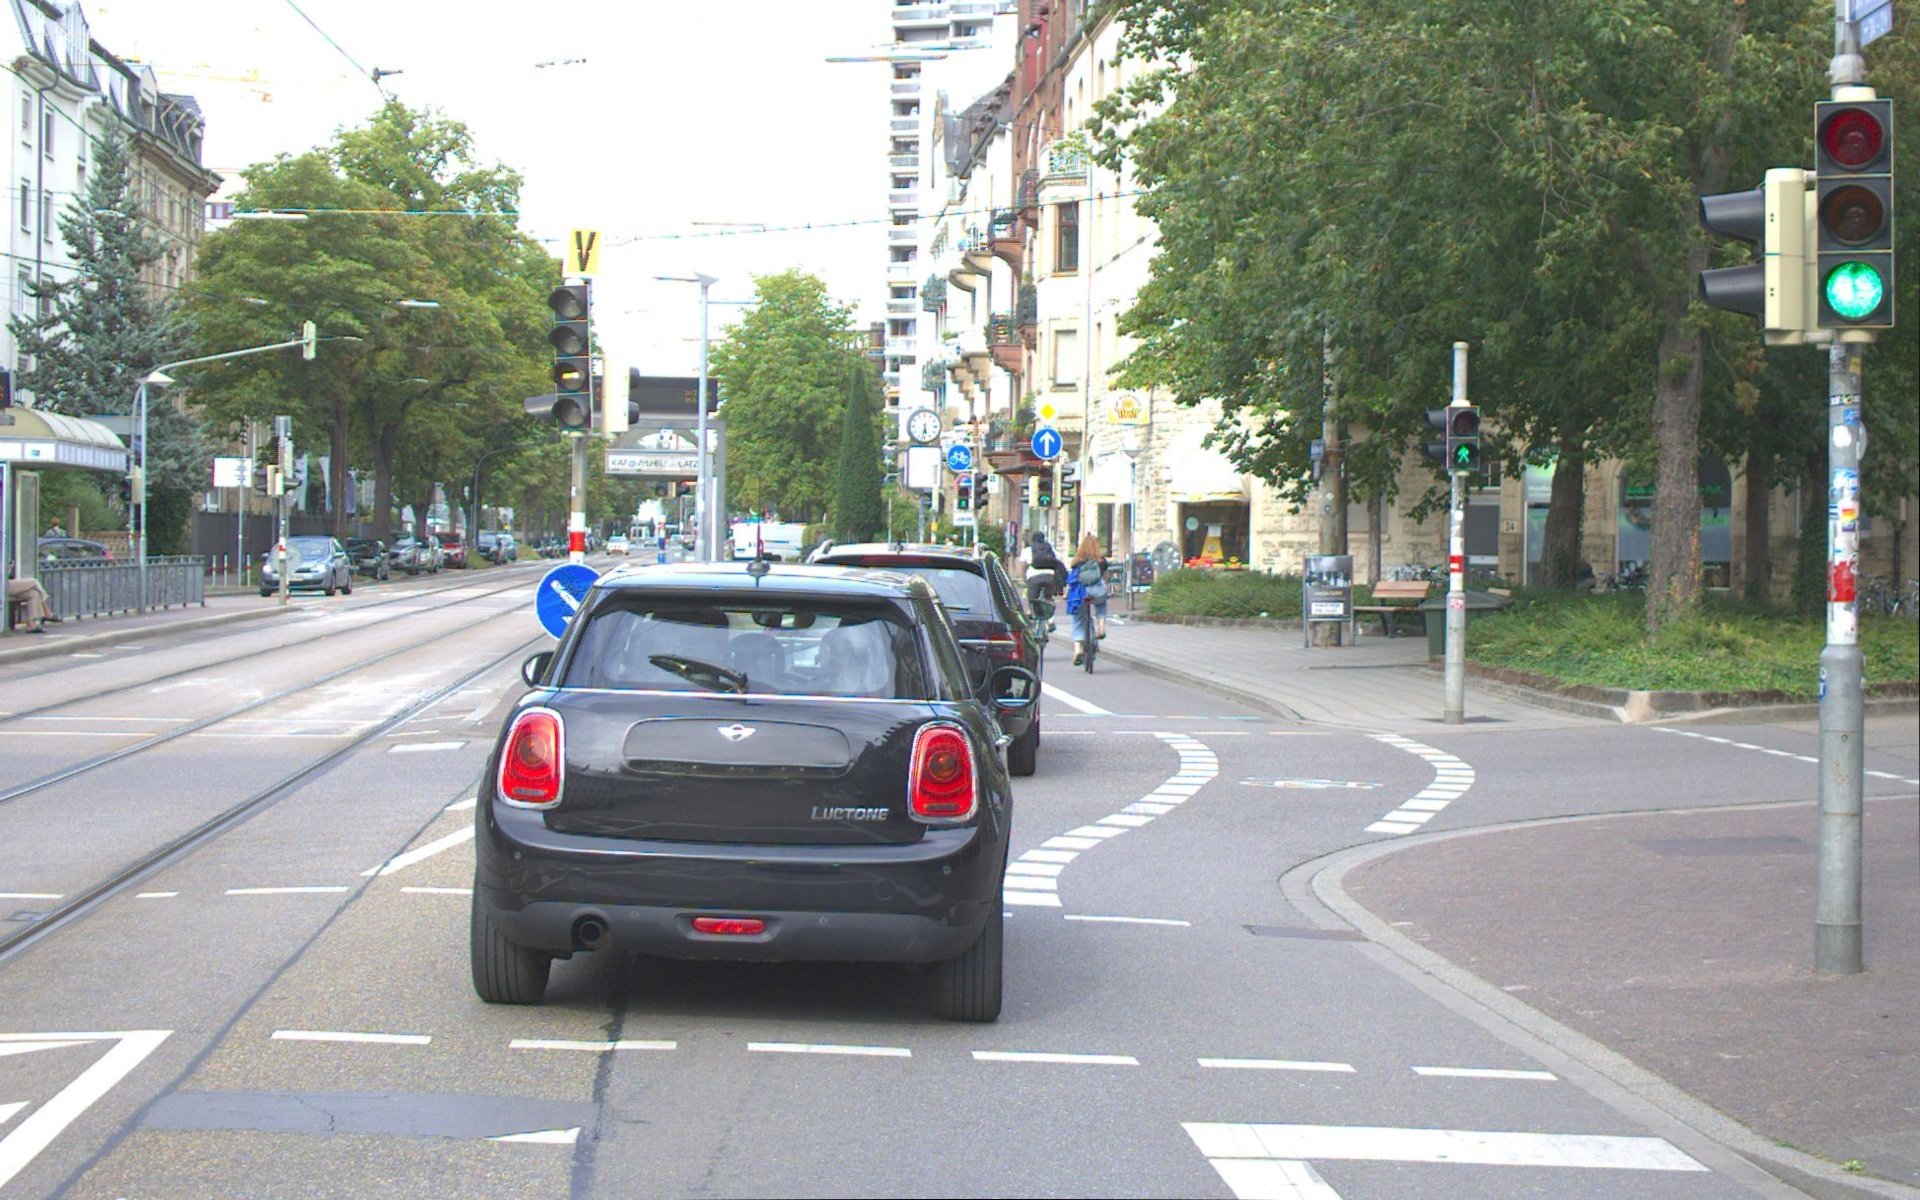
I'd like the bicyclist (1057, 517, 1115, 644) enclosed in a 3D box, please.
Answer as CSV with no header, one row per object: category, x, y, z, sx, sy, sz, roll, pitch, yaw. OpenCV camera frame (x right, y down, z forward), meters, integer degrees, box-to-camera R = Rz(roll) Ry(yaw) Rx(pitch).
bicyclist,1.554,-0.253,42.571,0.594,1.545,1.014,1,1,-4

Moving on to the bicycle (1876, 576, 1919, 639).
bicycle,17.567,0.145,62.097,1.887,1.124,0.563,1,1,-12

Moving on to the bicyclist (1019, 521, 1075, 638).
bicyclist,1.167,-0.289,46.459,0.684,1.558,0.998,1,1,-2

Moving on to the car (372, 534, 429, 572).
car,-20.798,-1.760,127.908,1.766,1.390,4.001,1,1,-5

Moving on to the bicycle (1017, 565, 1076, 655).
bicycle,1.162,0.129,46.521,0.684,1.166,1.697,1,1,-2

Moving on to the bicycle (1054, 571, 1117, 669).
bicycle,1.551,0.239,42.583,0.598,1.166,1.697,1,1,-4

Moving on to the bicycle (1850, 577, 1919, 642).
bicycle,17.109,0.162,62.785,1.888,1.124,0.533,-1,2,-34

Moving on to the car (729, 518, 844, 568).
car,-8.095,-2.678,160.971,5.026,2.265,2.396,0,1,-44

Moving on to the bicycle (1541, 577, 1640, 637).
bicycle,11.924,0.124,65.030,0.615,1.073,1.820,0,2,-43

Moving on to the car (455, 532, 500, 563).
car,-24.902,-2.709,177.446,1.993,1.546,4.001,1,1,-3

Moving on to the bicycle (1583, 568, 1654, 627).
bicycle,12.927,-0.052,67.472,0.532,1.124,1.889,2,1,38

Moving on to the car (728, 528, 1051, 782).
car,-0.418,0.297,22.704,1.927,1.504,4.000,1,1,0

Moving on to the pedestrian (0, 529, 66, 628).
pedestrian,-12.512,-0.295,45.786,1.058,1.289,0.986,1,1,-9

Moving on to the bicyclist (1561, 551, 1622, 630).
bicyclist,11.941,-0.183,65.017,0.615,1.468,0.915,0,1,-43

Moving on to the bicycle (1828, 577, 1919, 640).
bicycle,16.819,0.155,63.254,1.888,1.124,0.533,-1,2,-34

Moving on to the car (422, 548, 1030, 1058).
car,-0.679,0.575,12.238,1.752,1.436,4.000,3,1,1

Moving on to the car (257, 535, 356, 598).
car,-15.969,-0.837,84.156,1.751,1.436,4.001,3,1,-2

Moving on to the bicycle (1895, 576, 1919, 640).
bicycle,17.746,0.157,61.521,1.887,1.124,0.599,1,1,-12

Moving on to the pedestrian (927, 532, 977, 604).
pedestrian,-0.187,-0.755,80.972,0.732,1.668,0.833,-1,2,43

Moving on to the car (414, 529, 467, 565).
car,-23.330,-2.389,154.526,1.993,1.546,4.001,1,1,-3

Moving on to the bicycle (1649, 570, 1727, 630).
bicycle,14.051,-0.002,66.314,0.667,1.124,1.889,2,1,38
